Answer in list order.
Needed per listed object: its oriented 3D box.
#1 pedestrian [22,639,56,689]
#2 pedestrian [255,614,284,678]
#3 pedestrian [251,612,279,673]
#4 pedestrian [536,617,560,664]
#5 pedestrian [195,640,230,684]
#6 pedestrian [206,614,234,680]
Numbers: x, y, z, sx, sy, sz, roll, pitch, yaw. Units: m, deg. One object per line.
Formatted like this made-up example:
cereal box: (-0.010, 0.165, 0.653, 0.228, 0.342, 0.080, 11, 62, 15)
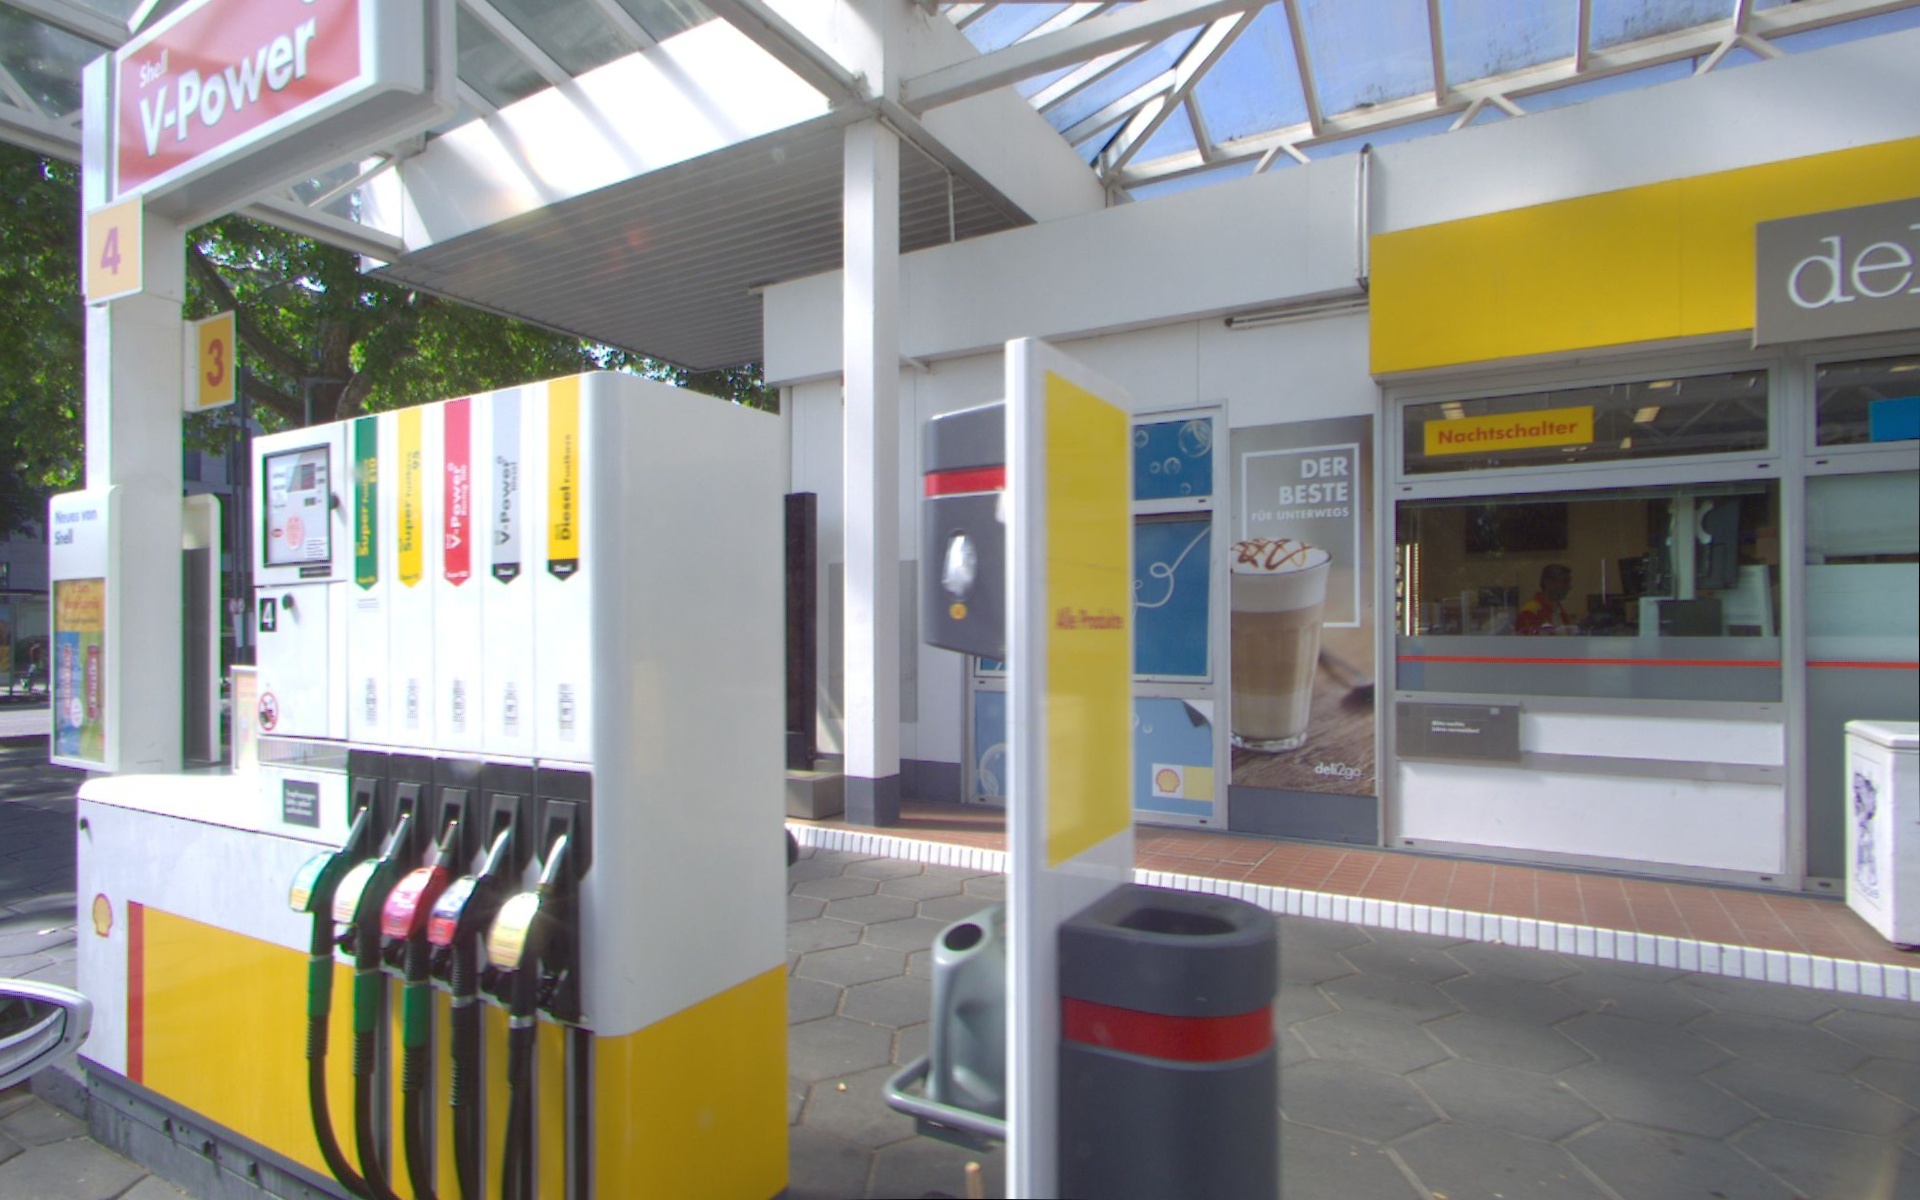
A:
pedestrian: (-21.877, 1.506, 23.790, 0.517, 1.152, 0.497, 0, -1, 37)
pedestrian: (-19.355, 1.278, 28.062, 0.517, 1.758, 0.498, 0, -1, 33)
pedestrian: (-20.328, 1.241, 29.289, 0.517, 1.758, 0.498, 0, -1, 33)
pedestrian: (-15.410, 1.501, 37.444, 0.689, 1.758, 0.498, 1, -1, -44)
pedestrian: (-20.127, 1.664, 26.958, 0.517, 1.152, 0.626, 0, -1, 37)
pedestrian: (-20.030, 1.265, 27.105, 0.401, 1.758, 0.498, -1, -1, 33)
